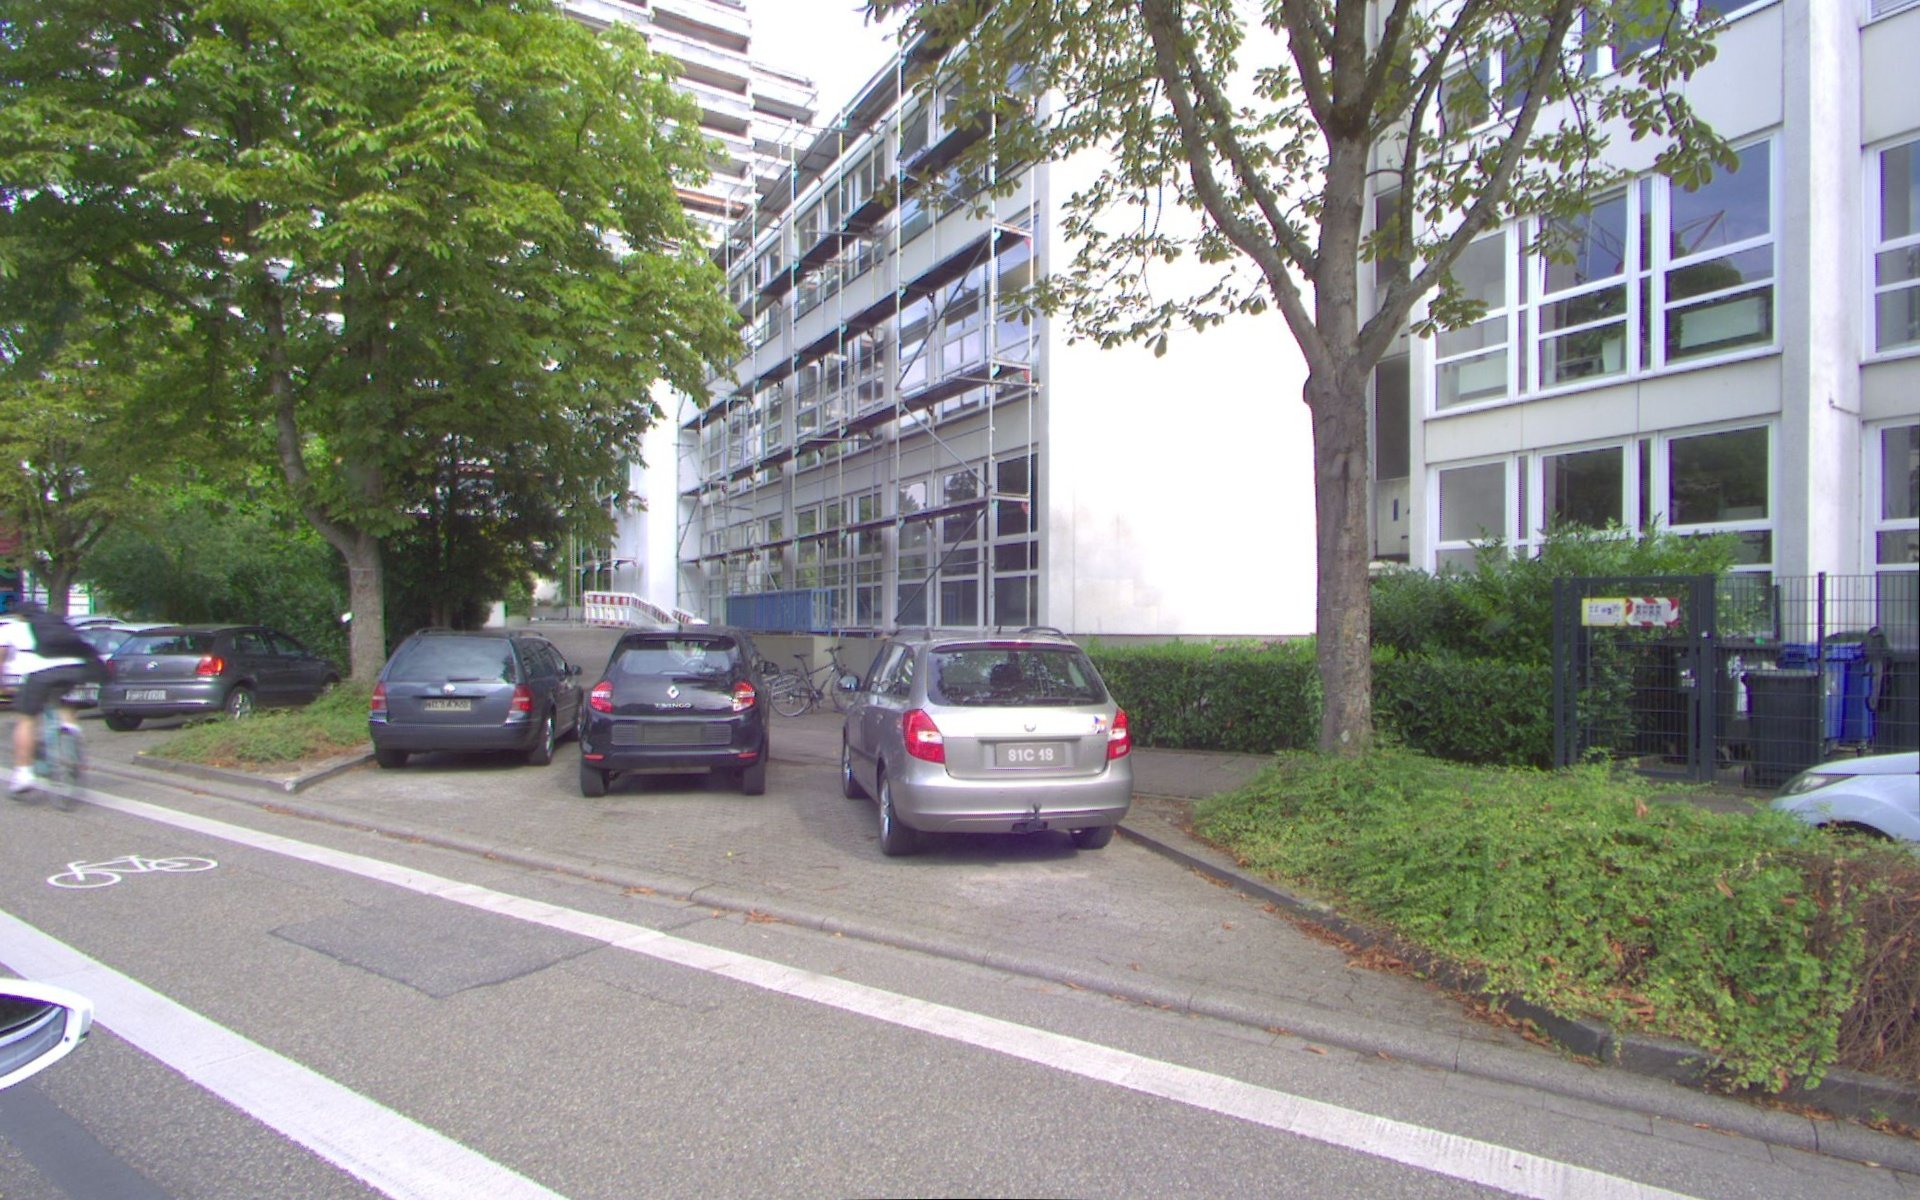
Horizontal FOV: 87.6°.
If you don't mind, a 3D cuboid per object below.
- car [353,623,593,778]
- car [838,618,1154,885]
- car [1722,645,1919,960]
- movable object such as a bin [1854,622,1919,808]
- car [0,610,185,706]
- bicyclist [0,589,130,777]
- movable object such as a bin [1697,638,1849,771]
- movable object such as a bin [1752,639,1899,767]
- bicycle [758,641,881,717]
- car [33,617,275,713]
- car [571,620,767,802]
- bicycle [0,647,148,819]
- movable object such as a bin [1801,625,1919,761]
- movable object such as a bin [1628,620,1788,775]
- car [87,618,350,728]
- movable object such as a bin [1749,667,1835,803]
[{"bbox_3d":[-5.387,1.031,11.581,1.610,1.477,3.737,1,-2,-12],"label":"car"},{"bbox_3d":[0.020,0.946,7.805,1.610,1.542,3.737,1,-2,-12],"label":"car"},{"bbox_3d":[5.567,0.953,4.029,1.611,1.478,3.825,1,-2,-14],"label":"car"},{"bbox_3d":[8.540,0.966,8.461,1.316,1.527,1.067,0,-2,34],"label":"movable object such as a bin"},{"bbox_3d":[-16.173,0.998,18.330,1.530,1.593,3.447,1,-1,-6],"label":"car"},{"bbox_3d":[-7.692,0.666,8.482,1.161,1.482,0.656,0,-1,32],"label":"bicyclist"},{"bbox_3d":[9.137,1.131,11.269,1.021,1.385,1.072,2,-2,-33],"label":"movable object such as a bin"},{"bbox_3d":[10.123,1.165,11.723,1.021,1.385,1.072,2,-2,-33],"label":"movable object such as a bin"},{"bbox_3d":[-2.307,1.283,16.566,1.943,1.143,0.536,-1,0,-27],"label":"bicycle"},{"bbox_3d":[-13.430,1.034,16.948,1.530,1.461,3.447,1,-1,-6],"label":"car"},{"bbox_3d":[-2.871,1.008,10.467,1.610,1.542,3.737,1,-2,-12],"label":"car"},{"bbox_3d":[-7.731,1.055,8.482,2.094,1.265,0.656,0,-1,32],"label":"bicycle"},{"bbox_3d":[11.272,1.112,12.407,1.021,1.582,1.072,2,-1,-33],"label":"movable object such as a bin"},{"bbox_3d":[8.036,1.003,10.775,1.105,1.542,1.072,2,-2,-33],"label":"movable object such as a bin"},{"bbox_3d":[-10.995,1.022,15.174,1.593,1.461,3.535,1,-1,-6],"label":"car"},{"bbox_3d":[7.366,1.163,8.860,0.566,1.117,0.647,0,-2,42],"label":"movable object such as a bin"}]
